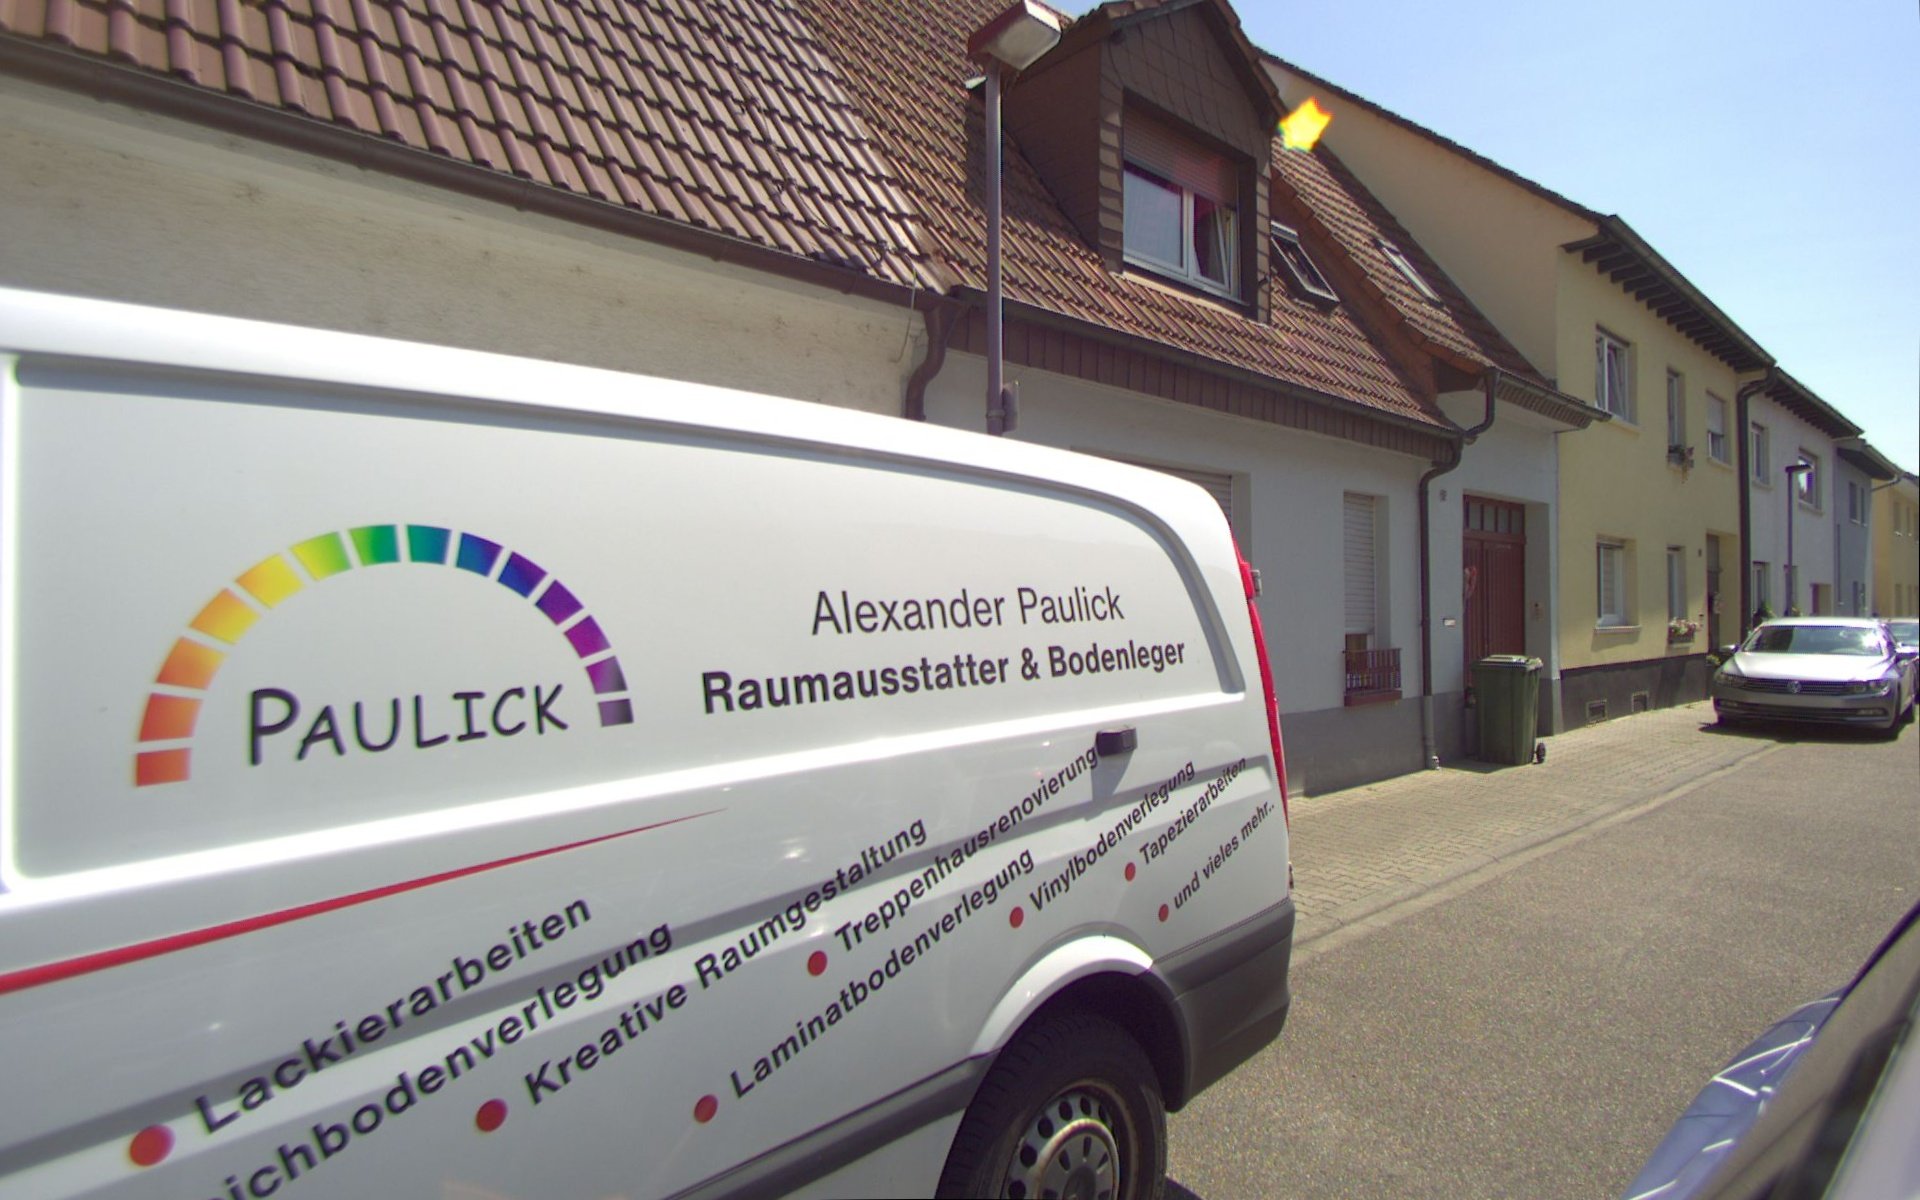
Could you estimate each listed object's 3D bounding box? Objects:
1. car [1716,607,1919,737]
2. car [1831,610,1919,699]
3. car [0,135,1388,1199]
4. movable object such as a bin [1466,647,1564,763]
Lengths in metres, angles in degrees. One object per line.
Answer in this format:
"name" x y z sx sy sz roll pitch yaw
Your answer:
"car" 12.017 0.853 13.842 4.695 1.467 1.840 0 -2 -43
"car" 17.343 0.933 18.482 4.033 1.454 1.698 0 -2 -43
"car" -1.481 0.524 1.717 5.174 1.862 2.015 0 -2 -42
"movable object such as a bin" 5.673 1.040 10.346 0.799 1.085 0.659 1 -1 -43
